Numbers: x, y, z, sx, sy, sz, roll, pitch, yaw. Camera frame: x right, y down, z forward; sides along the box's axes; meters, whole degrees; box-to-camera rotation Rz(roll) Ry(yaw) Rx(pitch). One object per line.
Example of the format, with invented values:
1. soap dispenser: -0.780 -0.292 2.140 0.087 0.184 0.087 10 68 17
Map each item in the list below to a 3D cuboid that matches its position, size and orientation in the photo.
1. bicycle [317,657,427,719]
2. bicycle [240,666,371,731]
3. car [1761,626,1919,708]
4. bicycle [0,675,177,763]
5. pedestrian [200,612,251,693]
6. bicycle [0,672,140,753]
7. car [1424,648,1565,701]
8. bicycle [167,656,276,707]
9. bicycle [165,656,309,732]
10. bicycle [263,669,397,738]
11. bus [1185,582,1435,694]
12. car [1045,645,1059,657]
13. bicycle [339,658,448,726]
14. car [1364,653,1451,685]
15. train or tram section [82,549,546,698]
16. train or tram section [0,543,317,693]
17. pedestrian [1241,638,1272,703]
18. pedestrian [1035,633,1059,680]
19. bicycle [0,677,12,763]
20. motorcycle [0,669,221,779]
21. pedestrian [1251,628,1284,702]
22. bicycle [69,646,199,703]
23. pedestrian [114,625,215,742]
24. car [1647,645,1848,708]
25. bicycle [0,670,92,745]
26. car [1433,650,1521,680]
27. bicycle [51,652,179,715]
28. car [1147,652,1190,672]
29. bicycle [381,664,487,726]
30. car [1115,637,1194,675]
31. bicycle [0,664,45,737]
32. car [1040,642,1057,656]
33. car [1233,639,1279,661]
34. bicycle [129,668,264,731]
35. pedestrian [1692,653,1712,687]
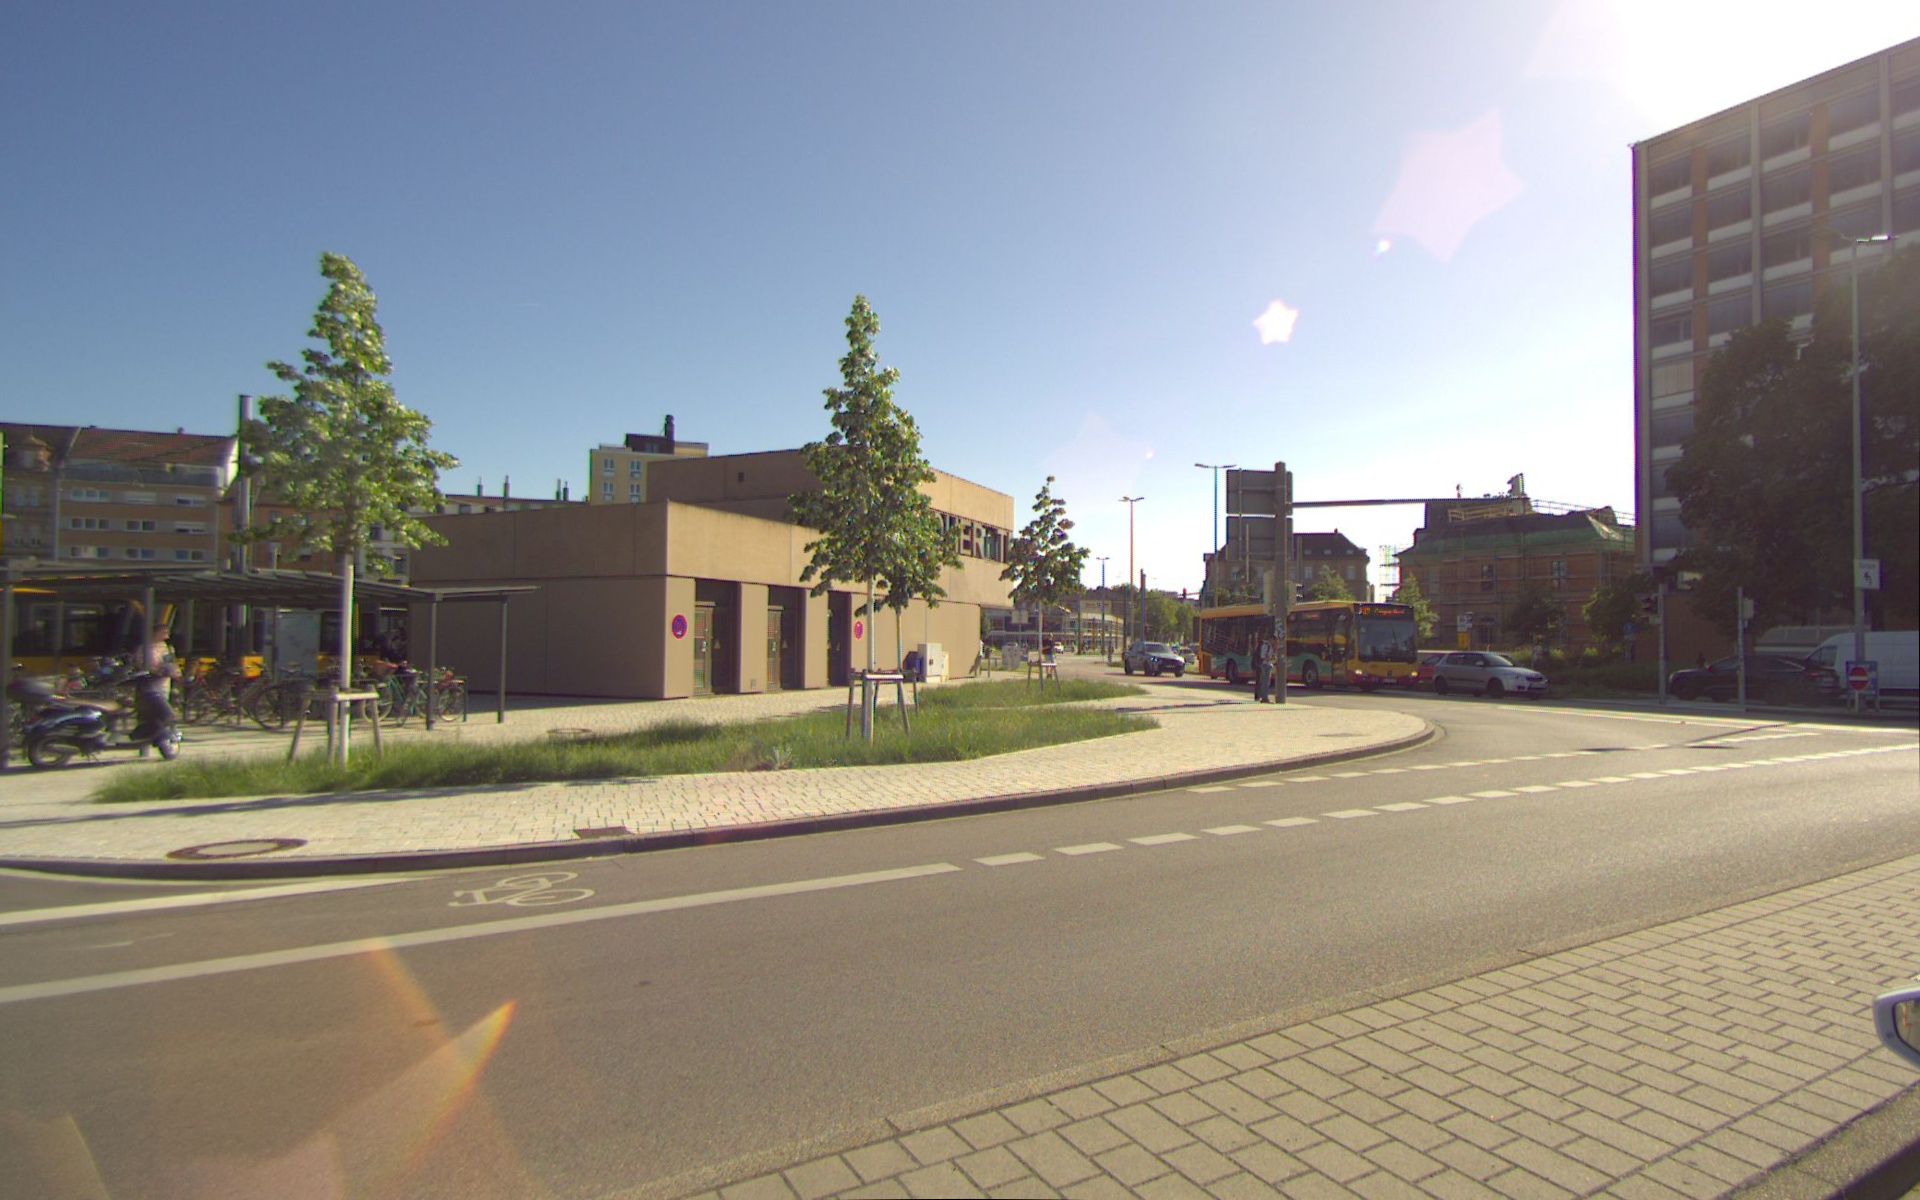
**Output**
1. bicycle: -11.556 1.702 19.794 0.617 1.107 1.829 0 -2 25
2. bicycle: -11.425 1.694 17.606 0.492 1.010 1.887 0 -2 31
3. car: 31.442 2.190 33.597 2.961 2.580 6.940 1 -2 -14
4. bicycle: -11.848 1.572 13.626 0.617 1.021 1.829 0 -2 25
5. pedestrian: -17.404 1.245 23.814 0.738 1.880 0.709 1 -2 -19
6. bicycle: -12.931 1.572 14.178 0.617 1.021 2.026 0 -2 25
7. car: 17.320 2.396 32.774 1.862 1.421 3.843 4 -2 -17
8. bicycle: -16.068 1.750 21.909 0.617 1.021 1.829 0 -2 25
9. bicycle: -12.699 1.614 17.734 0.496 1.225 2.051 0 -2 26
10. bicycle: -10.482 1.692 16.789 0.617 1.021 1.828 0 -2 27
11. bus: 12.825 1.440 38.838 3.193 3.617 12.437 1 -2 -12
12. car: 13.634 7.567 148.457 1.865 1.728 4.003 0 -2 7
13. bicycle: -10.553 1.690 18.789 0.616 1.161 1.831 0 -2 18
14. car: 22.249 3.400 50.136 2.029 1.458 4.050 1 -2 -11
15. train or tram section: -18.584 0.797 30.700 2.702 3.648 12.318 0 -2 25
16. train or tram section: -23.993 0.509 26.441 2.779 3.648 12.320 0 -2 24
17. pedestrian: 7.964 1.879 26.981 0.594 1.719 0.634 1 -2 -7
18. pedestrian: 3.473 2.255 40.200 0.826 1.869 0.866 1 -2 -7
19. bicycle: -12.724 1.487 12.013 0.677 1.055 1.891 0 -2 27
20. motorcycle: -10.730 1.491 12.581 0.599 1.173 2.360 0 -2 25
21. pedestrian: 7.890 1.653 25.802 0.594 1.880 0.681 1 -2 -7
22. bicycle: -15.803 1.408 19.272 0.617 1.021 1.828 0 -2 27
23. pedestrian: -12.250 1.254 15.477 1.005 1.727 0.838 0 -2 26
24. car: 26.232 2.500 33.726 1.969 1.694 5.026 4 -1 -18
25. bicycle: -13.915 1.564 14.618 0.617 1.021 1.829 0 -2 25
26. car: 27.478 3.429 53.534 2.031 1.458 4.047 1 -2 -14
27. bicycle: -16.721 1.627 19.934 0.617 1.146 1.828 0 -2 27
28. car: 19.329 5.760 93.180 1.761 1.795 3.972 1 -3 -28
29. bicycle: -9.633 1.723 18.489 0.616 1.021 1.832 0 -2 16
30. car: 10.231 2.936 53.210 1.975 1.885 4.720 1 -2 -21
31. bicycle: -15.082 1.531 15.117 0.617 1.094 1.829 0 -2 25
32. car: 12.484 6.887 141.620 1.959 1.814 4.003 0 -2 12
33. car: 21.211 3.584 72.140 1.962 1.538 3.818 1 -2 -4
34. bicycle: -13.675 1.757 18.043 0.617 1.021 1.828 0 -2 27
35. pedestrian: 35.628 3.352 48.236 0.545 1.591 0.534 1 -2 -5
